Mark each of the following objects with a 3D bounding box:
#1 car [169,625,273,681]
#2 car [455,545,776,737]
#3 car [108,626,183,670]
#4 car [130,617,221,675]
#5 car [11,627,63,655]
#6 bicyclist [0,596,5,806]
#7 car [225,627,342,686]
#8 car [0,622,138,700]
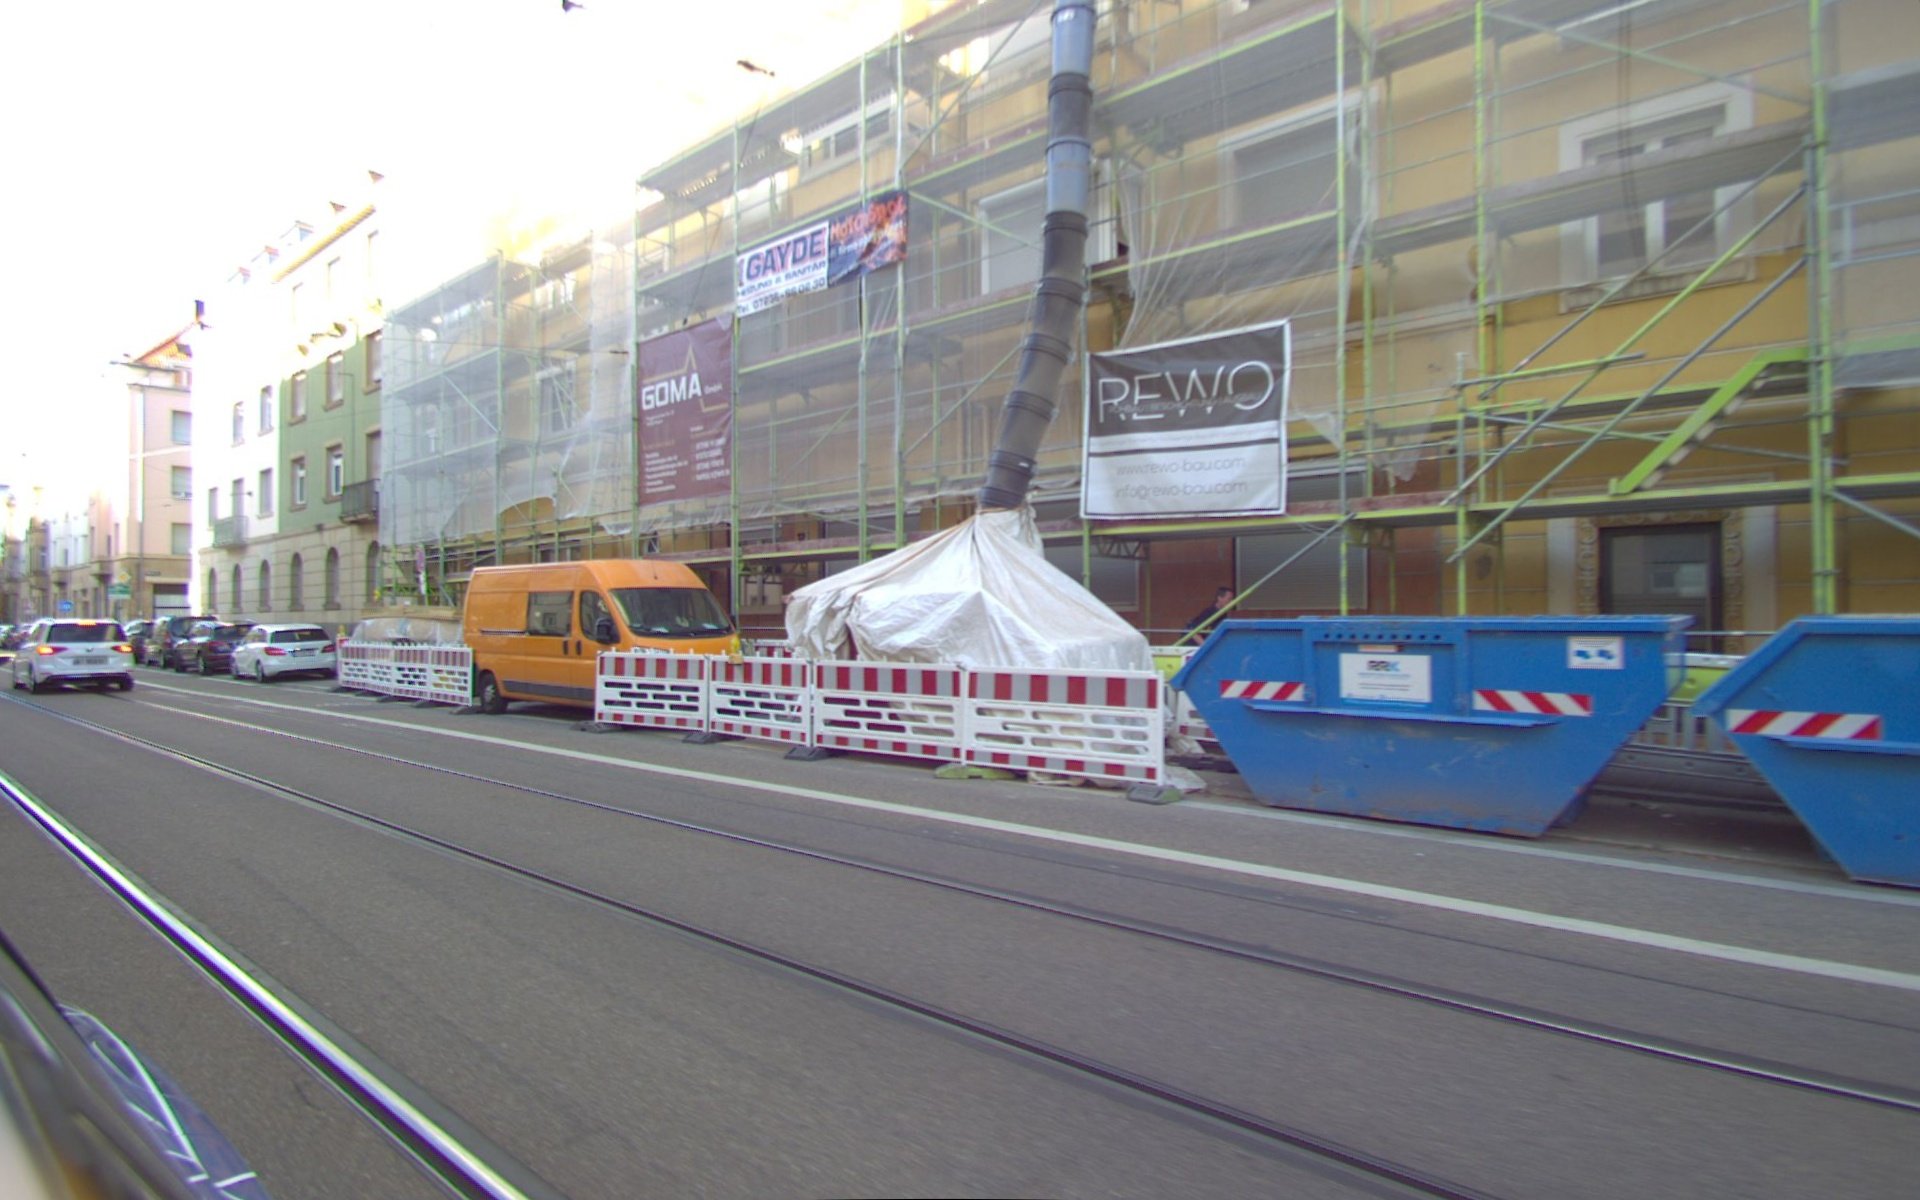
[{"bbox_3d":[-23.312,1.622,31.866,4.220,1.590,1.681,-2,0,40],"label":"car"},{"bbox_3d":[-5.603,0.623,15.914,5.998,2.488,2.097,-2,-3,42],"label":"car"},{"bbox_3d":[-31.518,1.817,39.127,3.770,1.622,1.774,-2,-2,44],"label":"car"},{"bbox_3d":[-27.778,1.589,35.816,3.766,1.860,1.776,-2,0,40],"label":"car"},{"bbox_3d":[-54.293,2.412,59.504,3.766,1.514,1.776,-2,0,40],"label":"car"},{"bbox_3d":[-7.734,0.753,7.550,0.850,1.566,0.832,-2,-2,44],"label":"bicyclist"},{"bbox_3d":[-18.756,1.523,27.986,3.998,1.523,1.728,-2,-3,42],"label":"car"},{"bbox_3d":[-20.422,1.324,23.099,4.197,1.580,1.803,-2,-1,39],"label":"car"}]
